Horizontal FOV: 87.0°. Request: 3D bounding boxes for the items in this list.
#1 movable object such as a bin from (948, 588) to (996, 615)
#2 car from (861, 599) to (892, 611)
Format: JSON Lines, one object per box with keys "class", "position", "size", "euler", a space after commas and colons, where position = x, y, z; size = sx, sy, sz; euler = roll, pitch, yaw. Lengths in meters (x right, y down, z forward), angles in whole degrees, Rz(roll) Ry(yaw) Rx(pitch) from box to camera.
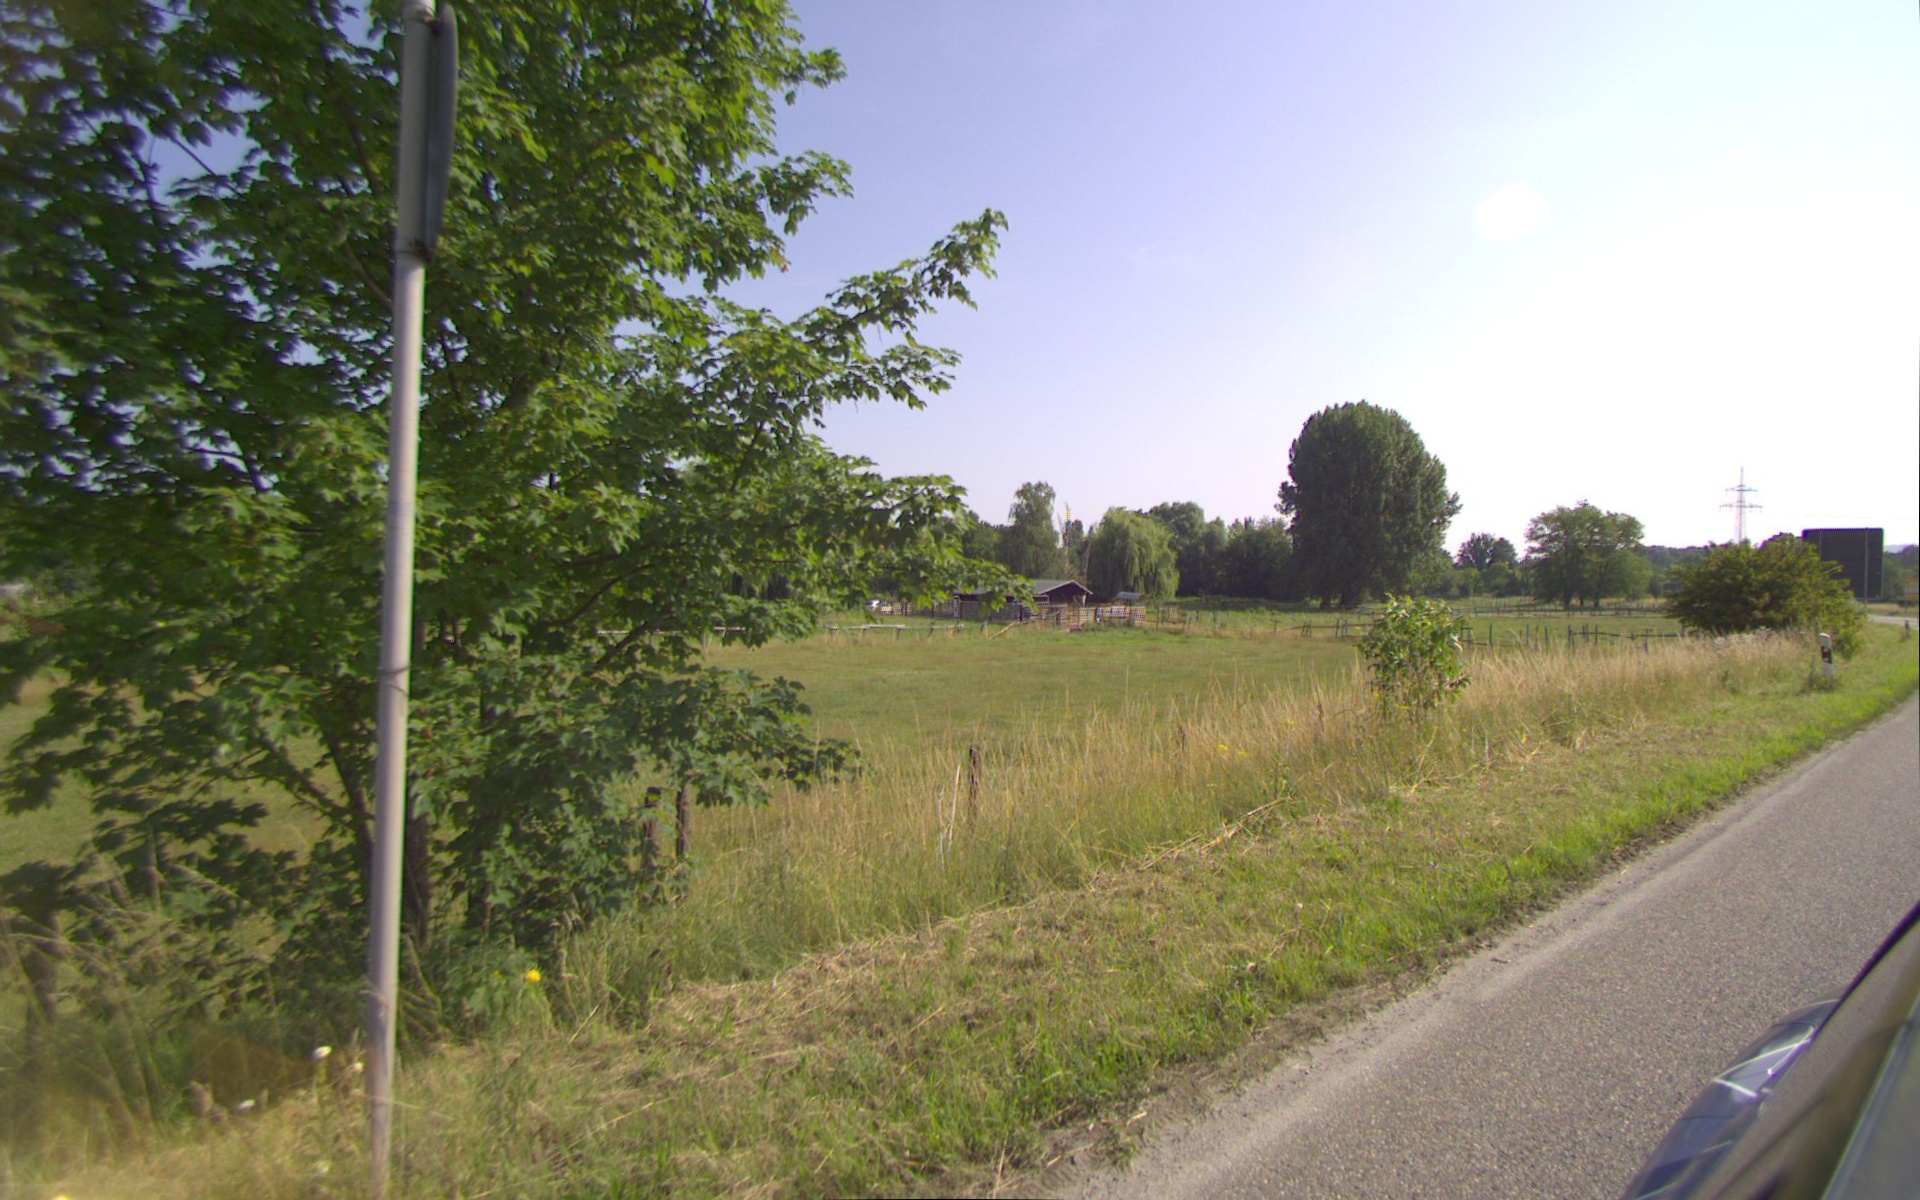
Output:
{"class": "movable object such as a bin", "position": [1.030, 0.096, 87.115], "size": [1.991, 2.221, 4.103], "euler": [0, 0, 41]}
{"class": "car", "position": [-7.694, 0.464, 93.147], "size": [1.219, 1.018, 3.016], "euler": [0, 0, 33]}
